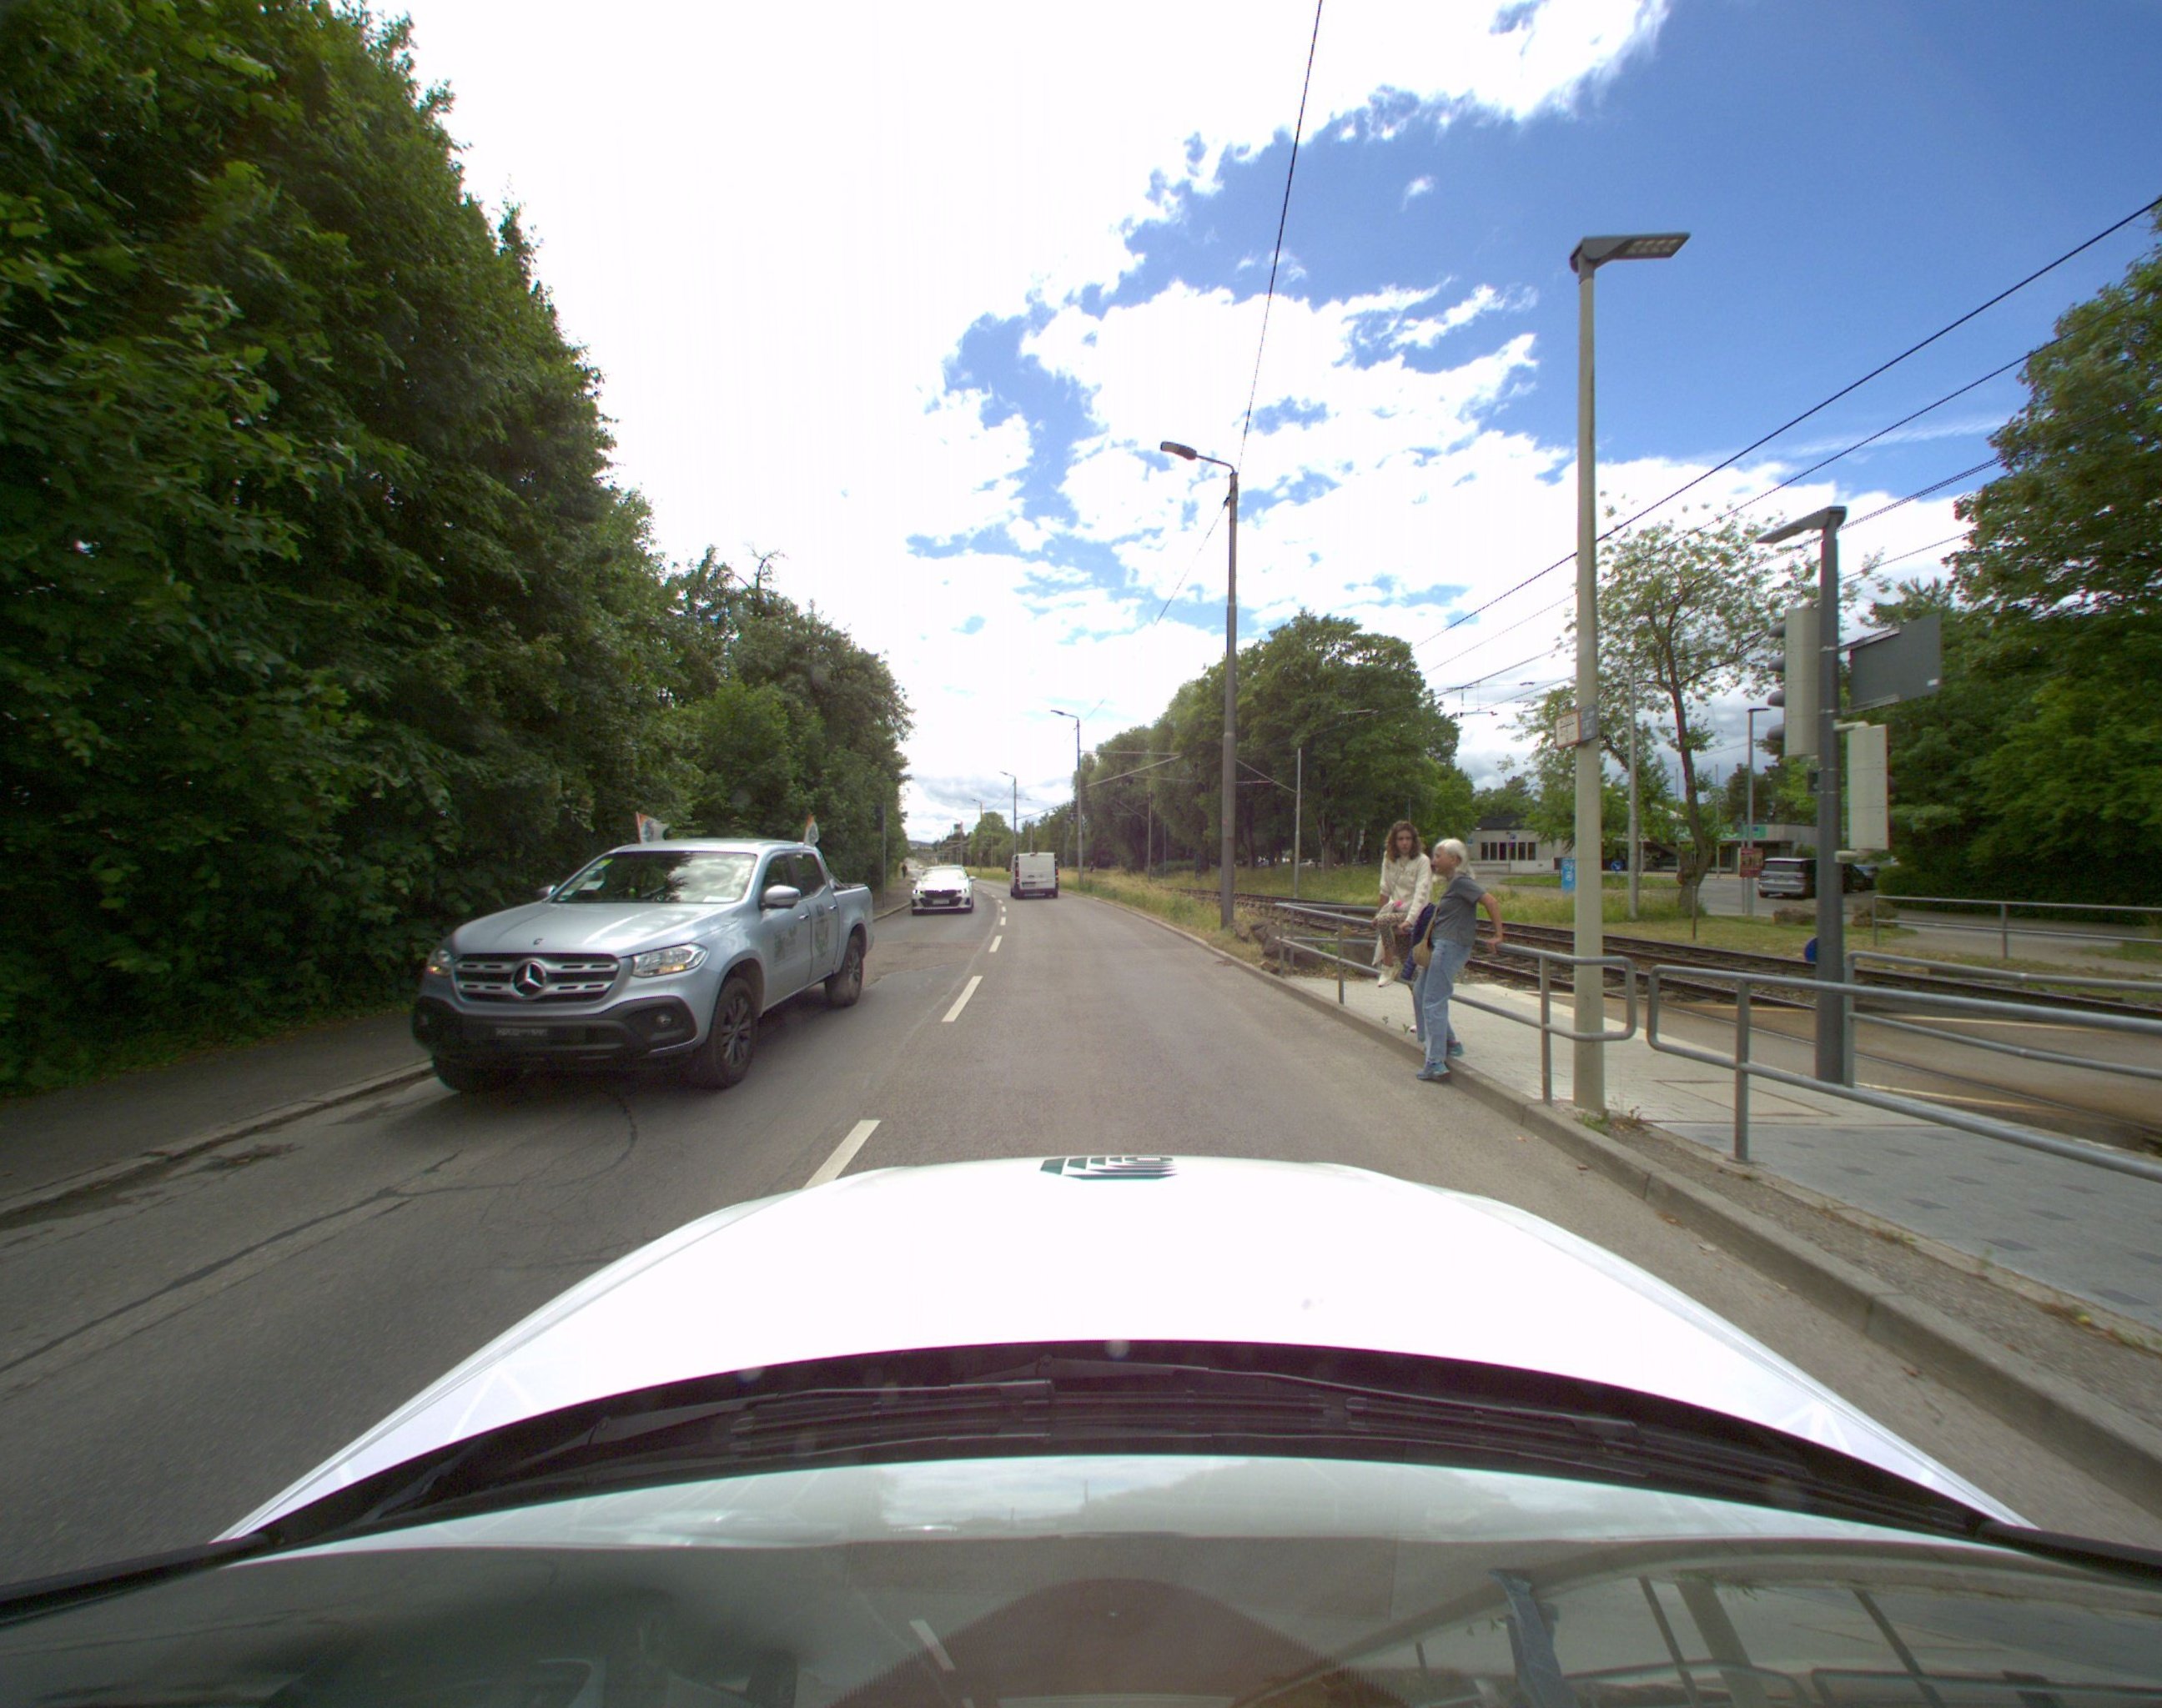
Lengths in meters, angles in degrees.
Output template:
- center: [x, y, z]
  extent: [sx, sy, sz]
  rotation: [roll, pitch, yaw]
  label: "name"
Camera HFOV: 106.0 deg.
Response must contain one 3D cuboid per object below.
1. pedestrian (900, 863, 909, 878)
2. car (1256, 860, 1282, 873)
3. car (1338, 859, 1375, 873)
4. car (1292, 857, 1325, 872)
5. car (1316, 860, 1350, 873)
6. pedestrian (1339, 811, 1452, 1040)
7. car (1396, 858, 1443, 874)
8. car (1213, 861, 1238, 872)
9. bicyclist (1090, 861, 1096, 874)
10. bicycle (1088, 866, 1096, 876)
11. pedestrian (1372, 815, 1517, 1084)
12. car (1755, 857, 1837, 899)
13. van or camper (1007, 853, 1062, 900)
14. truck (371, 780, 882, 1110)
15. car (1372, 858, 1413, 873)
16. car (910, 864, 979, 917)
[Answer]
- center: [-20.831, 1.941, 96.083]
  extent: [0.870, 1.769, 0.785]
  rotation: [-3, 0, -16]
  label: "pedestrian"
- center: [24.864, 1.645, 107.855]
  extent: [1.994, 1.700, 3.986]
  rotation: [1, -1, -10]
  label: "car"
- center: [29.261, 1.314, 86.674]
  extent: [1.995, 1.443, 3.983]
  rotation: [0, -1, -12]
  label: "car"
- center: [27.129, 1.251, 97.244]
  extent: [1.995, 1.700, 4.211]
  rotation: [1, -1, -12]
  label: "car"
- center: [28.281, 1.371, 91.593]
  extent: [1.995, 1.443, 3.983]
  rotation: [0, -1, -12]
  label: "car"
- center: [2.682, 0.592, 6.985]
  extent: [0.661, 1.840, 0.592]
  rotation: [2, -3, -23]
  label: "pedestrian"
- center: [31.642, 1.160, 76.179]
  extent: [1.995, 1.443, 4.328]
  rotation: [0, -1, -12]
  label: "car"
- center: [24.424, 2.151, 137.644]
  extent: [2.009, 1.812, 3.955]
  rotation: [1, -1, -38]
  label: "car"
- center: [1.533, 1.727, 107.116]
  extent: [0.582, 1.696, 0.930]
  rotation: [0, -1, -16]
  label: "bicyclist"
- center: [1.471, 2.257, 107.237]
  extent: [0.582, 1.246, 1.919]
  rotation: [0, 0, -16]
  label: "bicycle"
- center: [2.533, 0.633, 5.732]
  extent: [0.476, 1.729, 0.794]
  rotation: [2, -3, -24]
  label: "pedestrian"
- center: [33.879, 1.083, 38.543]
  extent: [4.734, 1.861, 1.896]
  rotation: [0, -1, -36]
  label: "car"
- center: [-2.137, 0.963, 36.065]
  extent: [1.942, 1.897, 4.270]
  rotation: [-2, -1, -10]
  label: "van or camper"
- center: [-3.328, 0.562, 7.371]
  extent: [1.842, 1.966, 4.957]
  rotation: [0, -1, 0]
  label: "truck"
- center: [30.697, 1.185, 80.362]
  extent: [1.995, 1.443, 3.983]
  rotation: [0, -1, -12]
  label: "car"
- center: [-4.447, 1.138, 27.127]
  extent: [1.927, 1.522, 4.649]
  rotation: [-2, -1, -6]
  label: "car"
